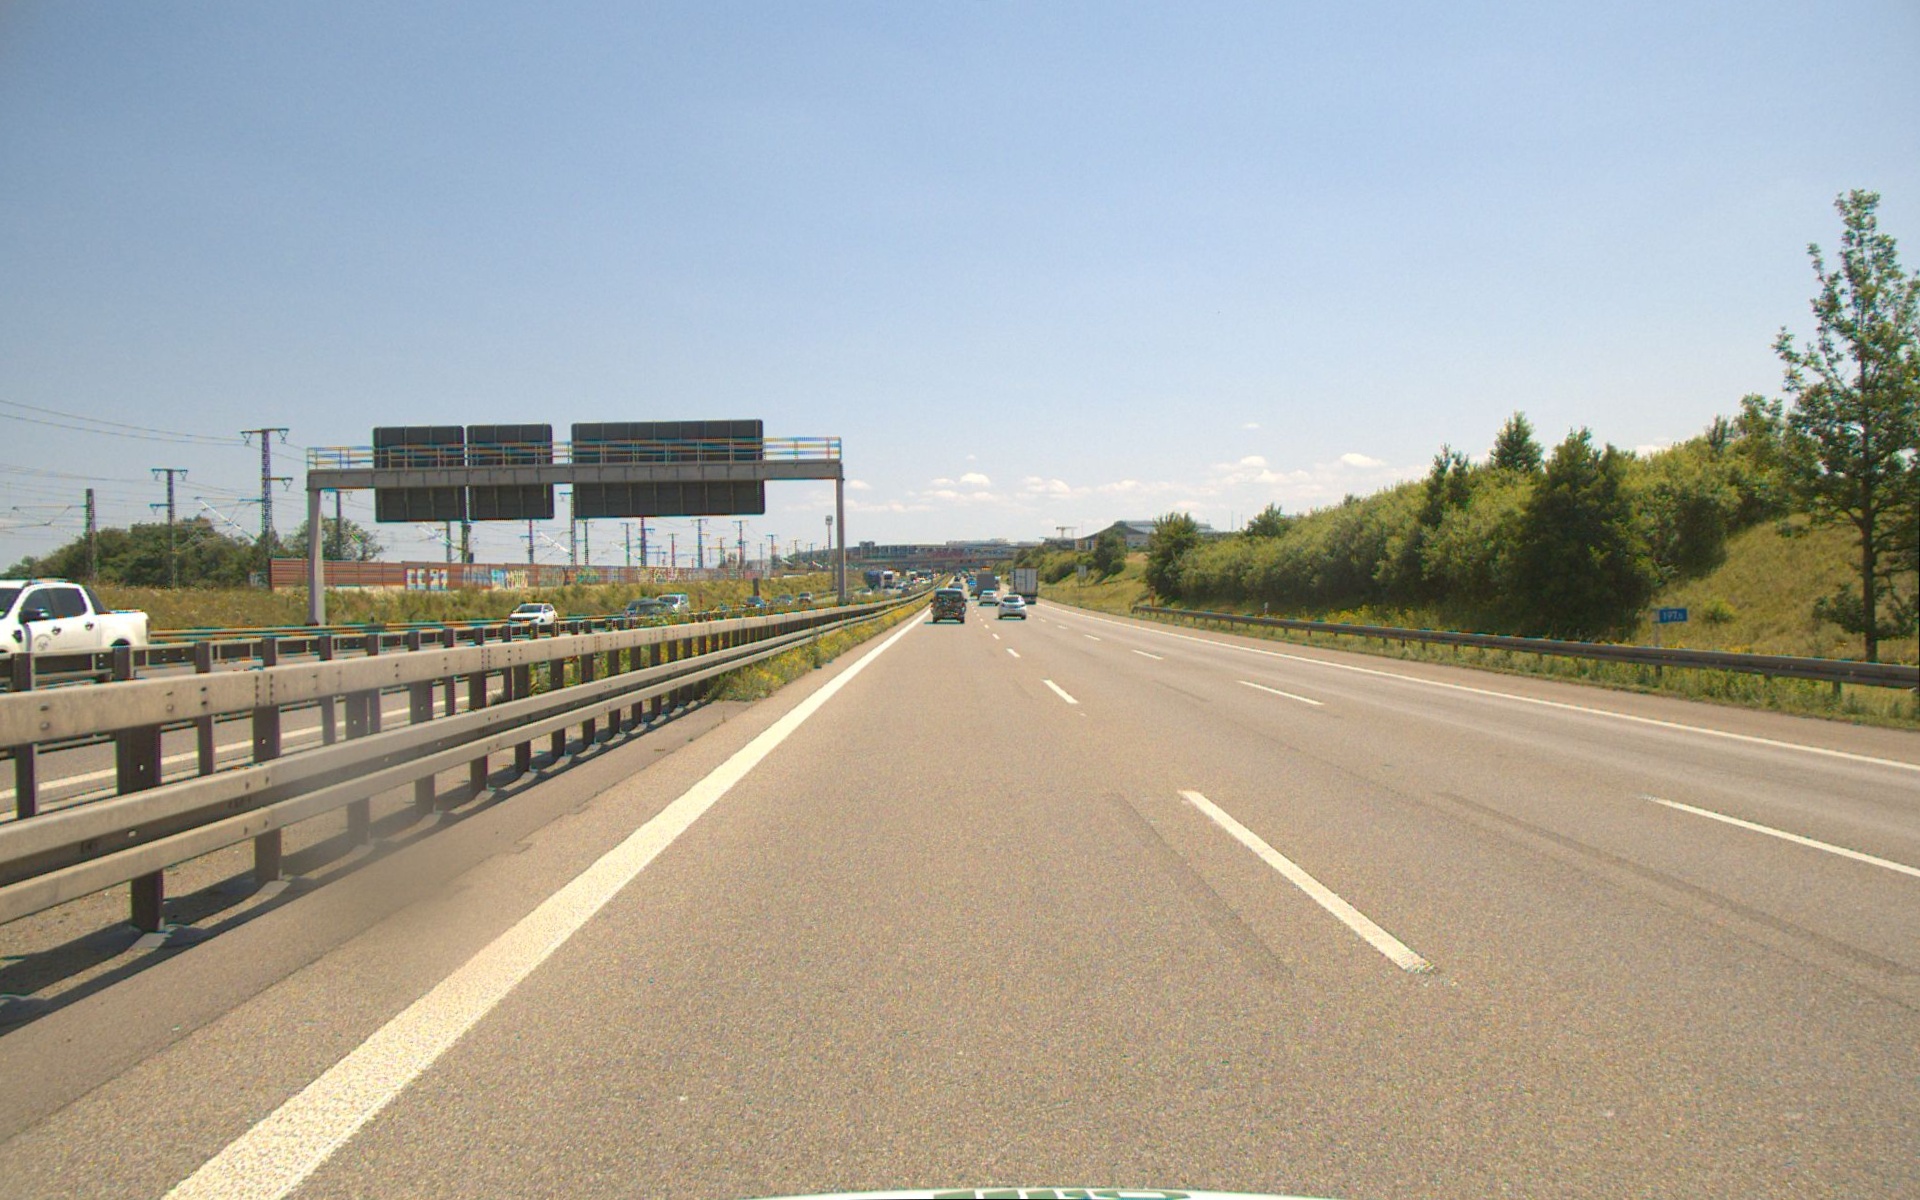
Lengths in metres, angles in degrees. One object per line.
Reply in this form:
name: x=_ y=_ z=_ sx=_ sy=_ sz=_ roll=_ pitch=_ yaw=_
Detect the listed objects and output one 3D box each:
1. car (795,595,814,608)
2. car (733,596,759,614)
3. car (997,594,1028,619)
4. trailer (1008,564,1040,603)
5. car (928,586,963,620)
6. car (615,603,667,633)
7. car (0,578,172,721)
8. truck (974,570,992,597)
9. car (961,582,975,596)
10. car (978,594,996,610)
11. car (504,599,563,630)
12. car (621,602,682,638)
car: x=-20.318 y=0.193 z=216.077 sx=1.953 sy=1.757 sz=4.513 roll=0 pitch=0 yaw=0
car: x=-20.874 y=0.471 z=161.459 sx=1.952 sy=1.757 sz=4.513 roll=0 pitch=0 yaw=0
car: x=3.270 y=0.396 z=103.029 sx=1.841 sy=1.553 sz=4.001 roll=0 pitch=0 yaw=3
trailer: x=7.058 y=-1.864 z=183.132 sx=3.112 sy=4.130 sz=9.440 roll=-1 pitch=1 yaw=0
car: x=-0.778 y=0.148 z=89.609 sx=1.842 sy=1.806 sz=4.000 roll=-1 pitch=0 yaw=0
car: x=-17.262 y=0.964 z=89.719 sx=1.952 sy=1.604 sz=4.477 roll=0 pitch=0 yaw=0
car: x=-13.557 y=0.656 z=23.689 sx=1.953 sy=1.863 sz=5.598 roll=0 pitch=0 yaw=-1
truck: x=2.958 y=-2.172 z=213.567 sx=2.307 sy=3.475 sz=6.057 roll=0 pitch=1 yaw=0
car: x=1.174 y=-1.675 z=244.608 sx=1.953 sy=2.049 sz=3.999 roll=0 pitch=0 yaw=-1
car: x=2.736 y=0.190 z=168.280 sx=1.842 sy=1.553 sz=4.000 roll=0 pitch=0 yaw=1
car: x=-22.748 y=0.774 z=88.336 sx=1.952 sy=1.604 sz=4.477 roll=0 pitch=0 yaw=0
car: x=-13.348 y=0.830 z=71.808 sx=1.890 sy=1.509 sz=4.475 roll=0 pitch=0 yaw=-1
